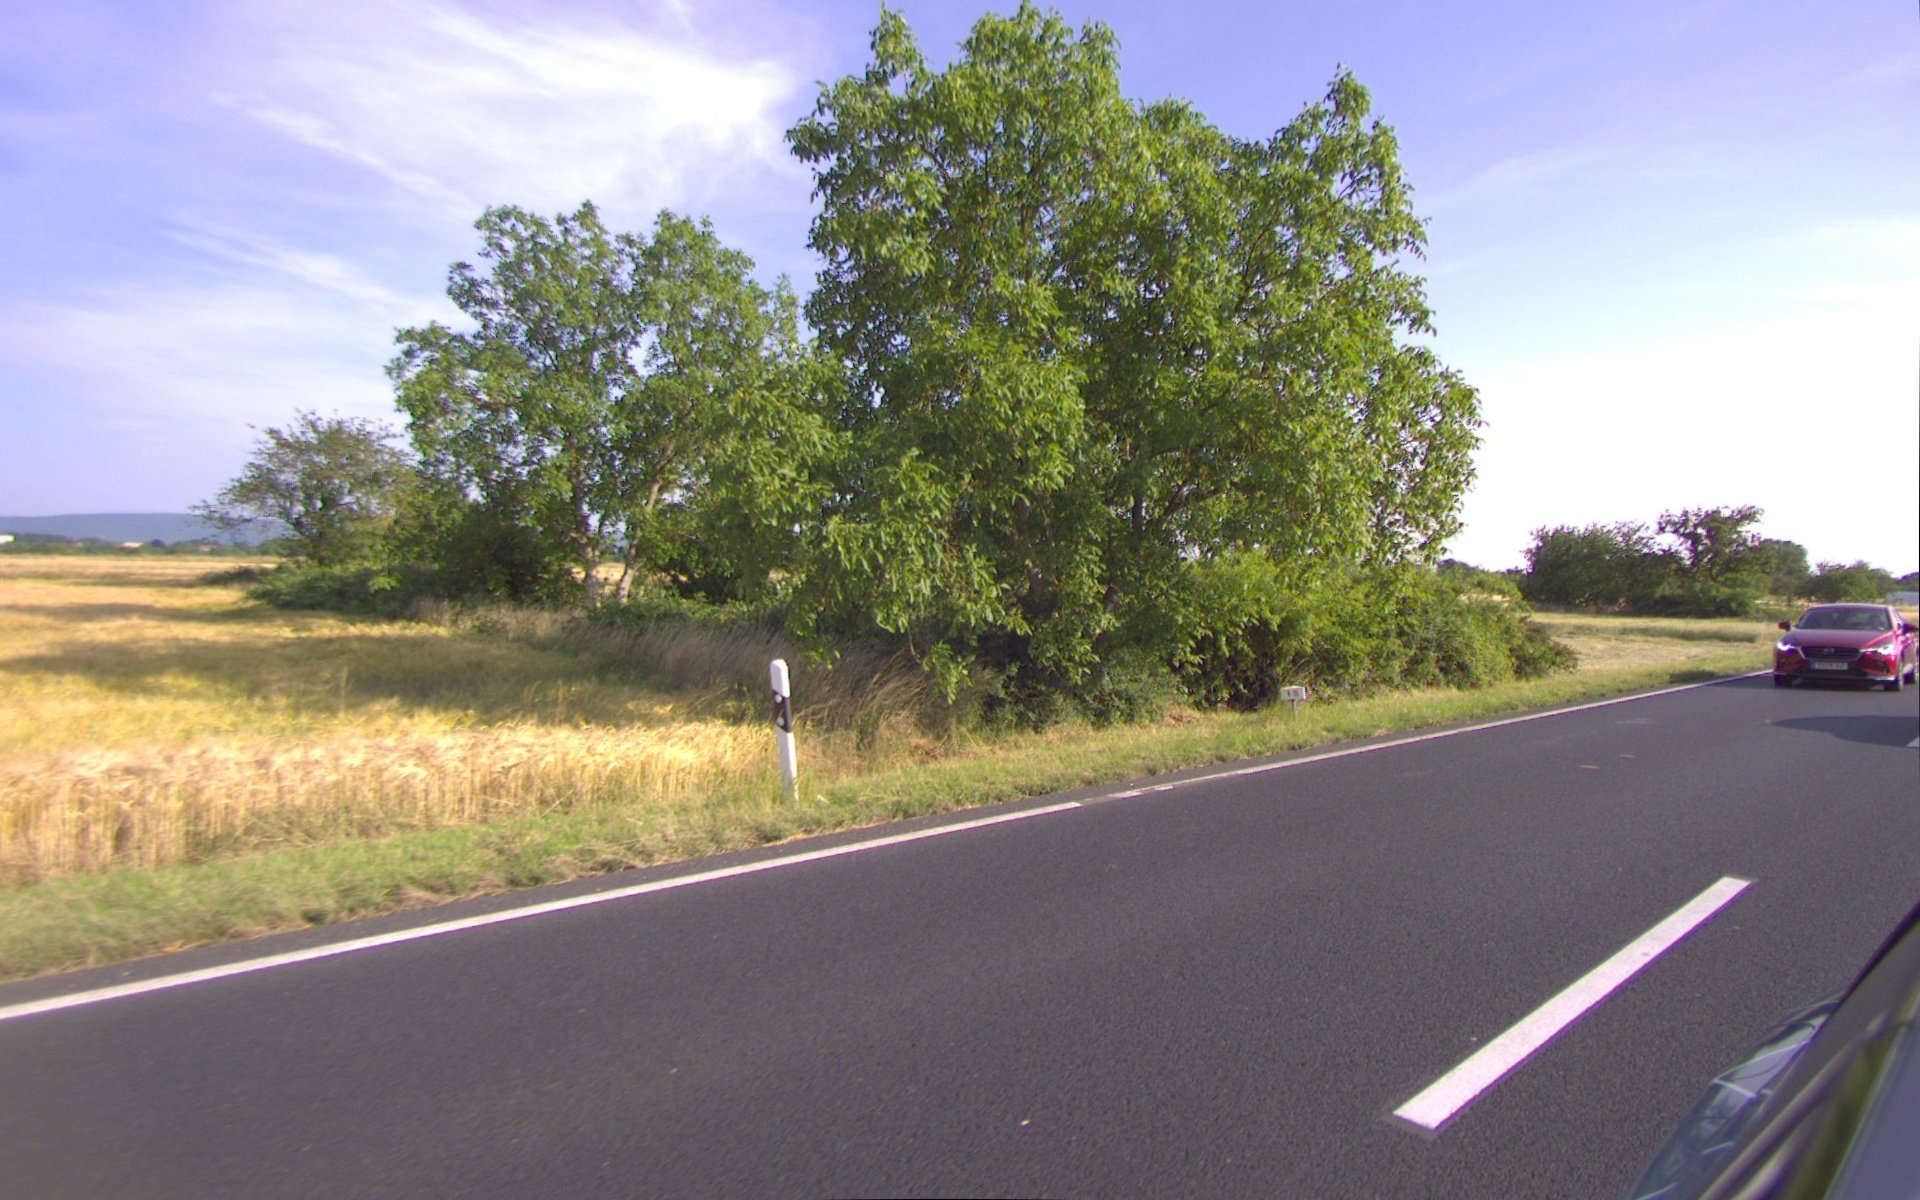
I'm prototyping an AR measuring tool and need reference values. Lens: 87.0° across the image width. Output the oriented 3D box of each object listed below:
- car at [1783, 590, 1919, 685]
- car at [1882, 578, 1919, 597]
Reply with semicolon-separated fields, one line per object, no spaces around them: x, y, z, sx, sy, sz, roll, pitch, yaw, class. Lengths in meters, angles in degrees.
16.866;0.601;18.851;4.423;1.524;1.707;-1;1;-42;car
144.008;-1.840;152.444;2.049;2.702;7.229;-1;2;-27;car
